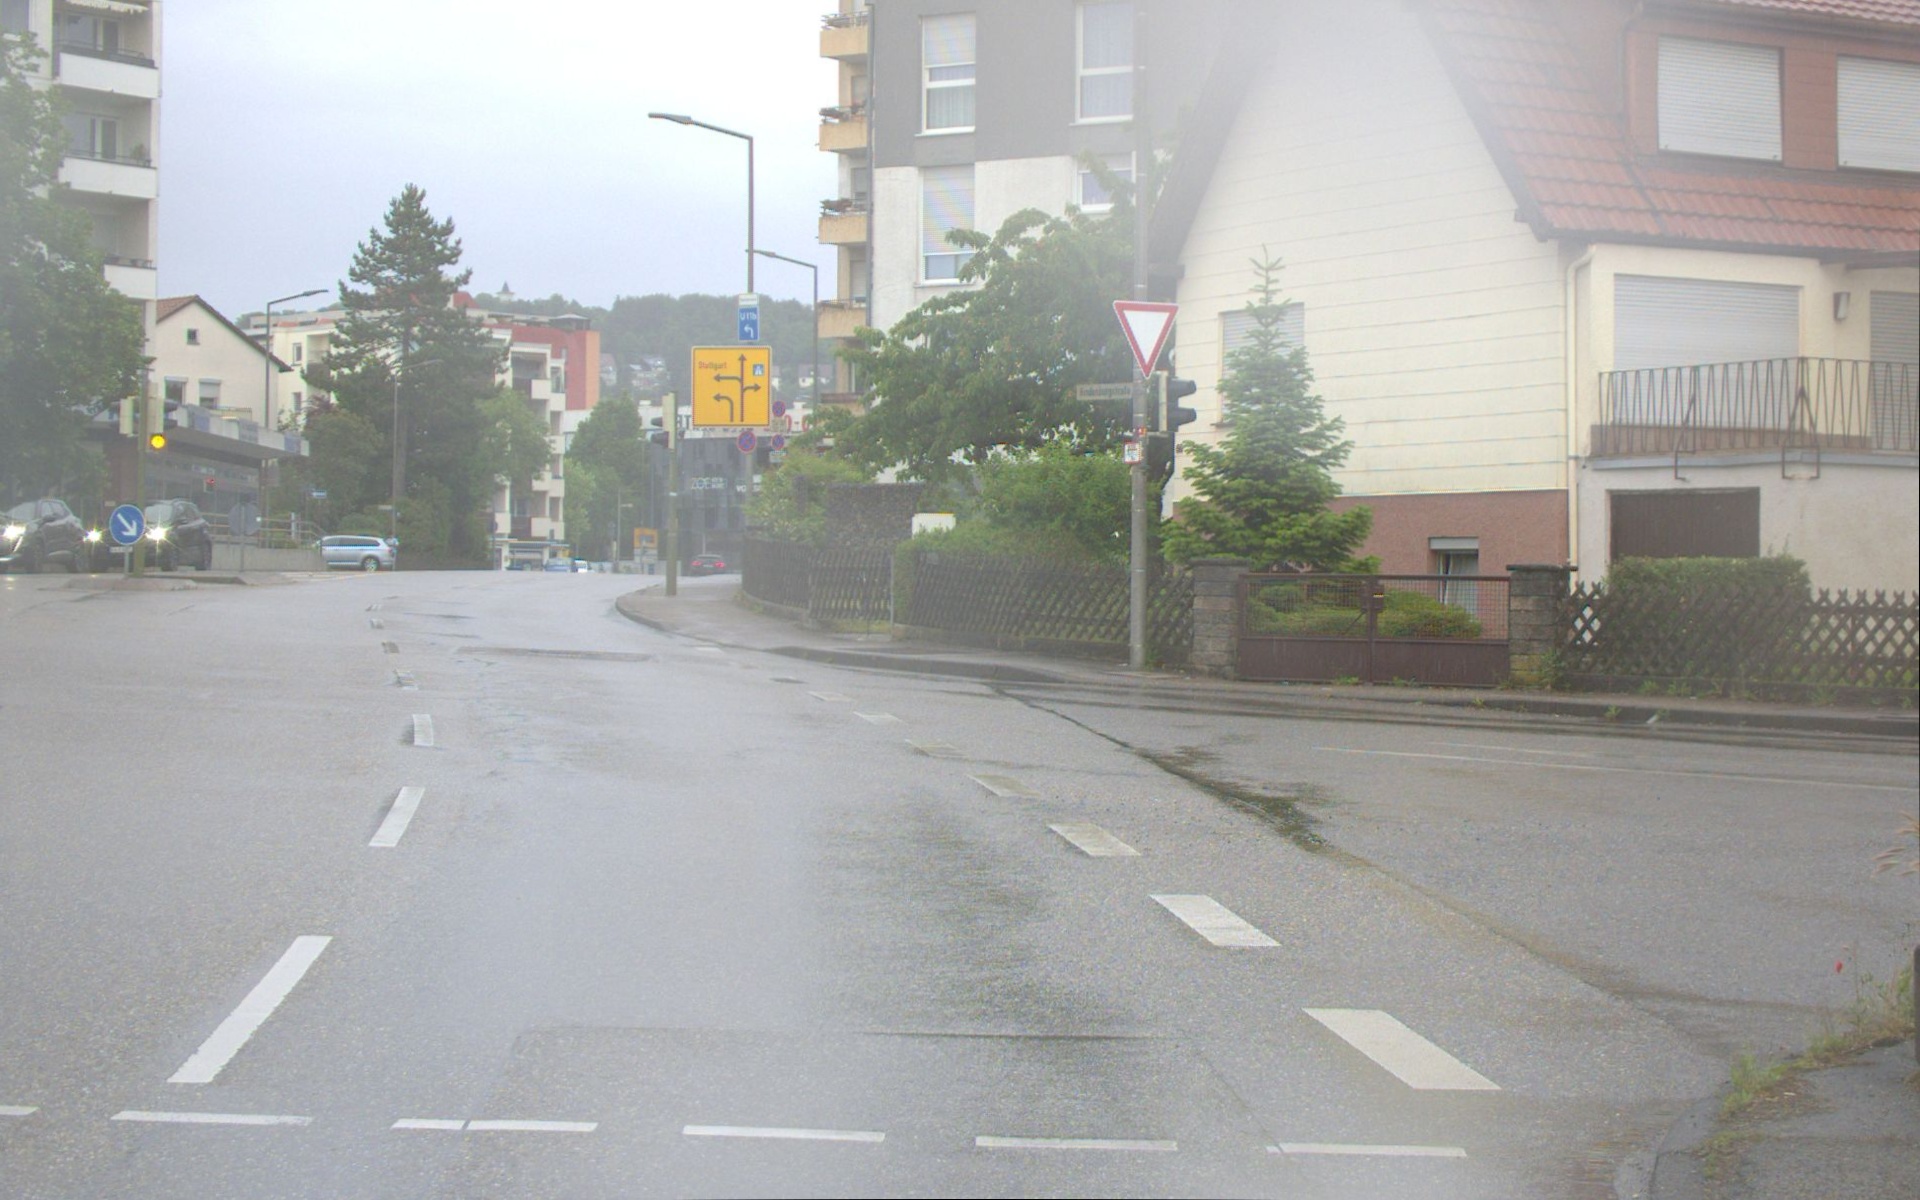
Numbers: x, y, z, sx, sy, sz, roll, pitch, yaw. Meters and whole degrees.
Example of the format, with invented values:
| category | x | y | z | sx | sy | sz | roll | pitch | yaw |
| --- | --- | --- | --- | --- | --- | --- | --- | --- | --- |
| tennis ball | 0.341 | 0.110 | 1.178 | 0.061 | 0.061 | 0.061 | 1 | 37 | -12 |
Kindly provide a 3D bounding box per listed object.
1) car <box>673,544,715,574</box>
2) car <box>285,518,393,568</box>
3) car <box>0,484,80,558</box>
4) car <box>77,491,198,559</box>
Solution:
| category | x | y | z | sx | sy | sz | roll | pitch | yaw |
| --- | --- | --- | --- | --- | --- | --- | --- | --- | --- |
| car | -13.512 | -2.102 | 174.742 | 1.813 | 1.481 | 4.189 | 0 | 2 | 0 |
| car | -23.617 | -2.172 | 130.820 | 3.848 | 1.809 | 1.761 | 1 | 2 | -4 |
| car | -18.416 | -1.552 | 66.628 | 1.715 | 1.382 | 4.021 | 1 | 2 | -1 |
| car | -18.060 | -1.661 | 75.625 | 1.778 | 1.415 | 3.831 | 1 | 2 | -1 |
